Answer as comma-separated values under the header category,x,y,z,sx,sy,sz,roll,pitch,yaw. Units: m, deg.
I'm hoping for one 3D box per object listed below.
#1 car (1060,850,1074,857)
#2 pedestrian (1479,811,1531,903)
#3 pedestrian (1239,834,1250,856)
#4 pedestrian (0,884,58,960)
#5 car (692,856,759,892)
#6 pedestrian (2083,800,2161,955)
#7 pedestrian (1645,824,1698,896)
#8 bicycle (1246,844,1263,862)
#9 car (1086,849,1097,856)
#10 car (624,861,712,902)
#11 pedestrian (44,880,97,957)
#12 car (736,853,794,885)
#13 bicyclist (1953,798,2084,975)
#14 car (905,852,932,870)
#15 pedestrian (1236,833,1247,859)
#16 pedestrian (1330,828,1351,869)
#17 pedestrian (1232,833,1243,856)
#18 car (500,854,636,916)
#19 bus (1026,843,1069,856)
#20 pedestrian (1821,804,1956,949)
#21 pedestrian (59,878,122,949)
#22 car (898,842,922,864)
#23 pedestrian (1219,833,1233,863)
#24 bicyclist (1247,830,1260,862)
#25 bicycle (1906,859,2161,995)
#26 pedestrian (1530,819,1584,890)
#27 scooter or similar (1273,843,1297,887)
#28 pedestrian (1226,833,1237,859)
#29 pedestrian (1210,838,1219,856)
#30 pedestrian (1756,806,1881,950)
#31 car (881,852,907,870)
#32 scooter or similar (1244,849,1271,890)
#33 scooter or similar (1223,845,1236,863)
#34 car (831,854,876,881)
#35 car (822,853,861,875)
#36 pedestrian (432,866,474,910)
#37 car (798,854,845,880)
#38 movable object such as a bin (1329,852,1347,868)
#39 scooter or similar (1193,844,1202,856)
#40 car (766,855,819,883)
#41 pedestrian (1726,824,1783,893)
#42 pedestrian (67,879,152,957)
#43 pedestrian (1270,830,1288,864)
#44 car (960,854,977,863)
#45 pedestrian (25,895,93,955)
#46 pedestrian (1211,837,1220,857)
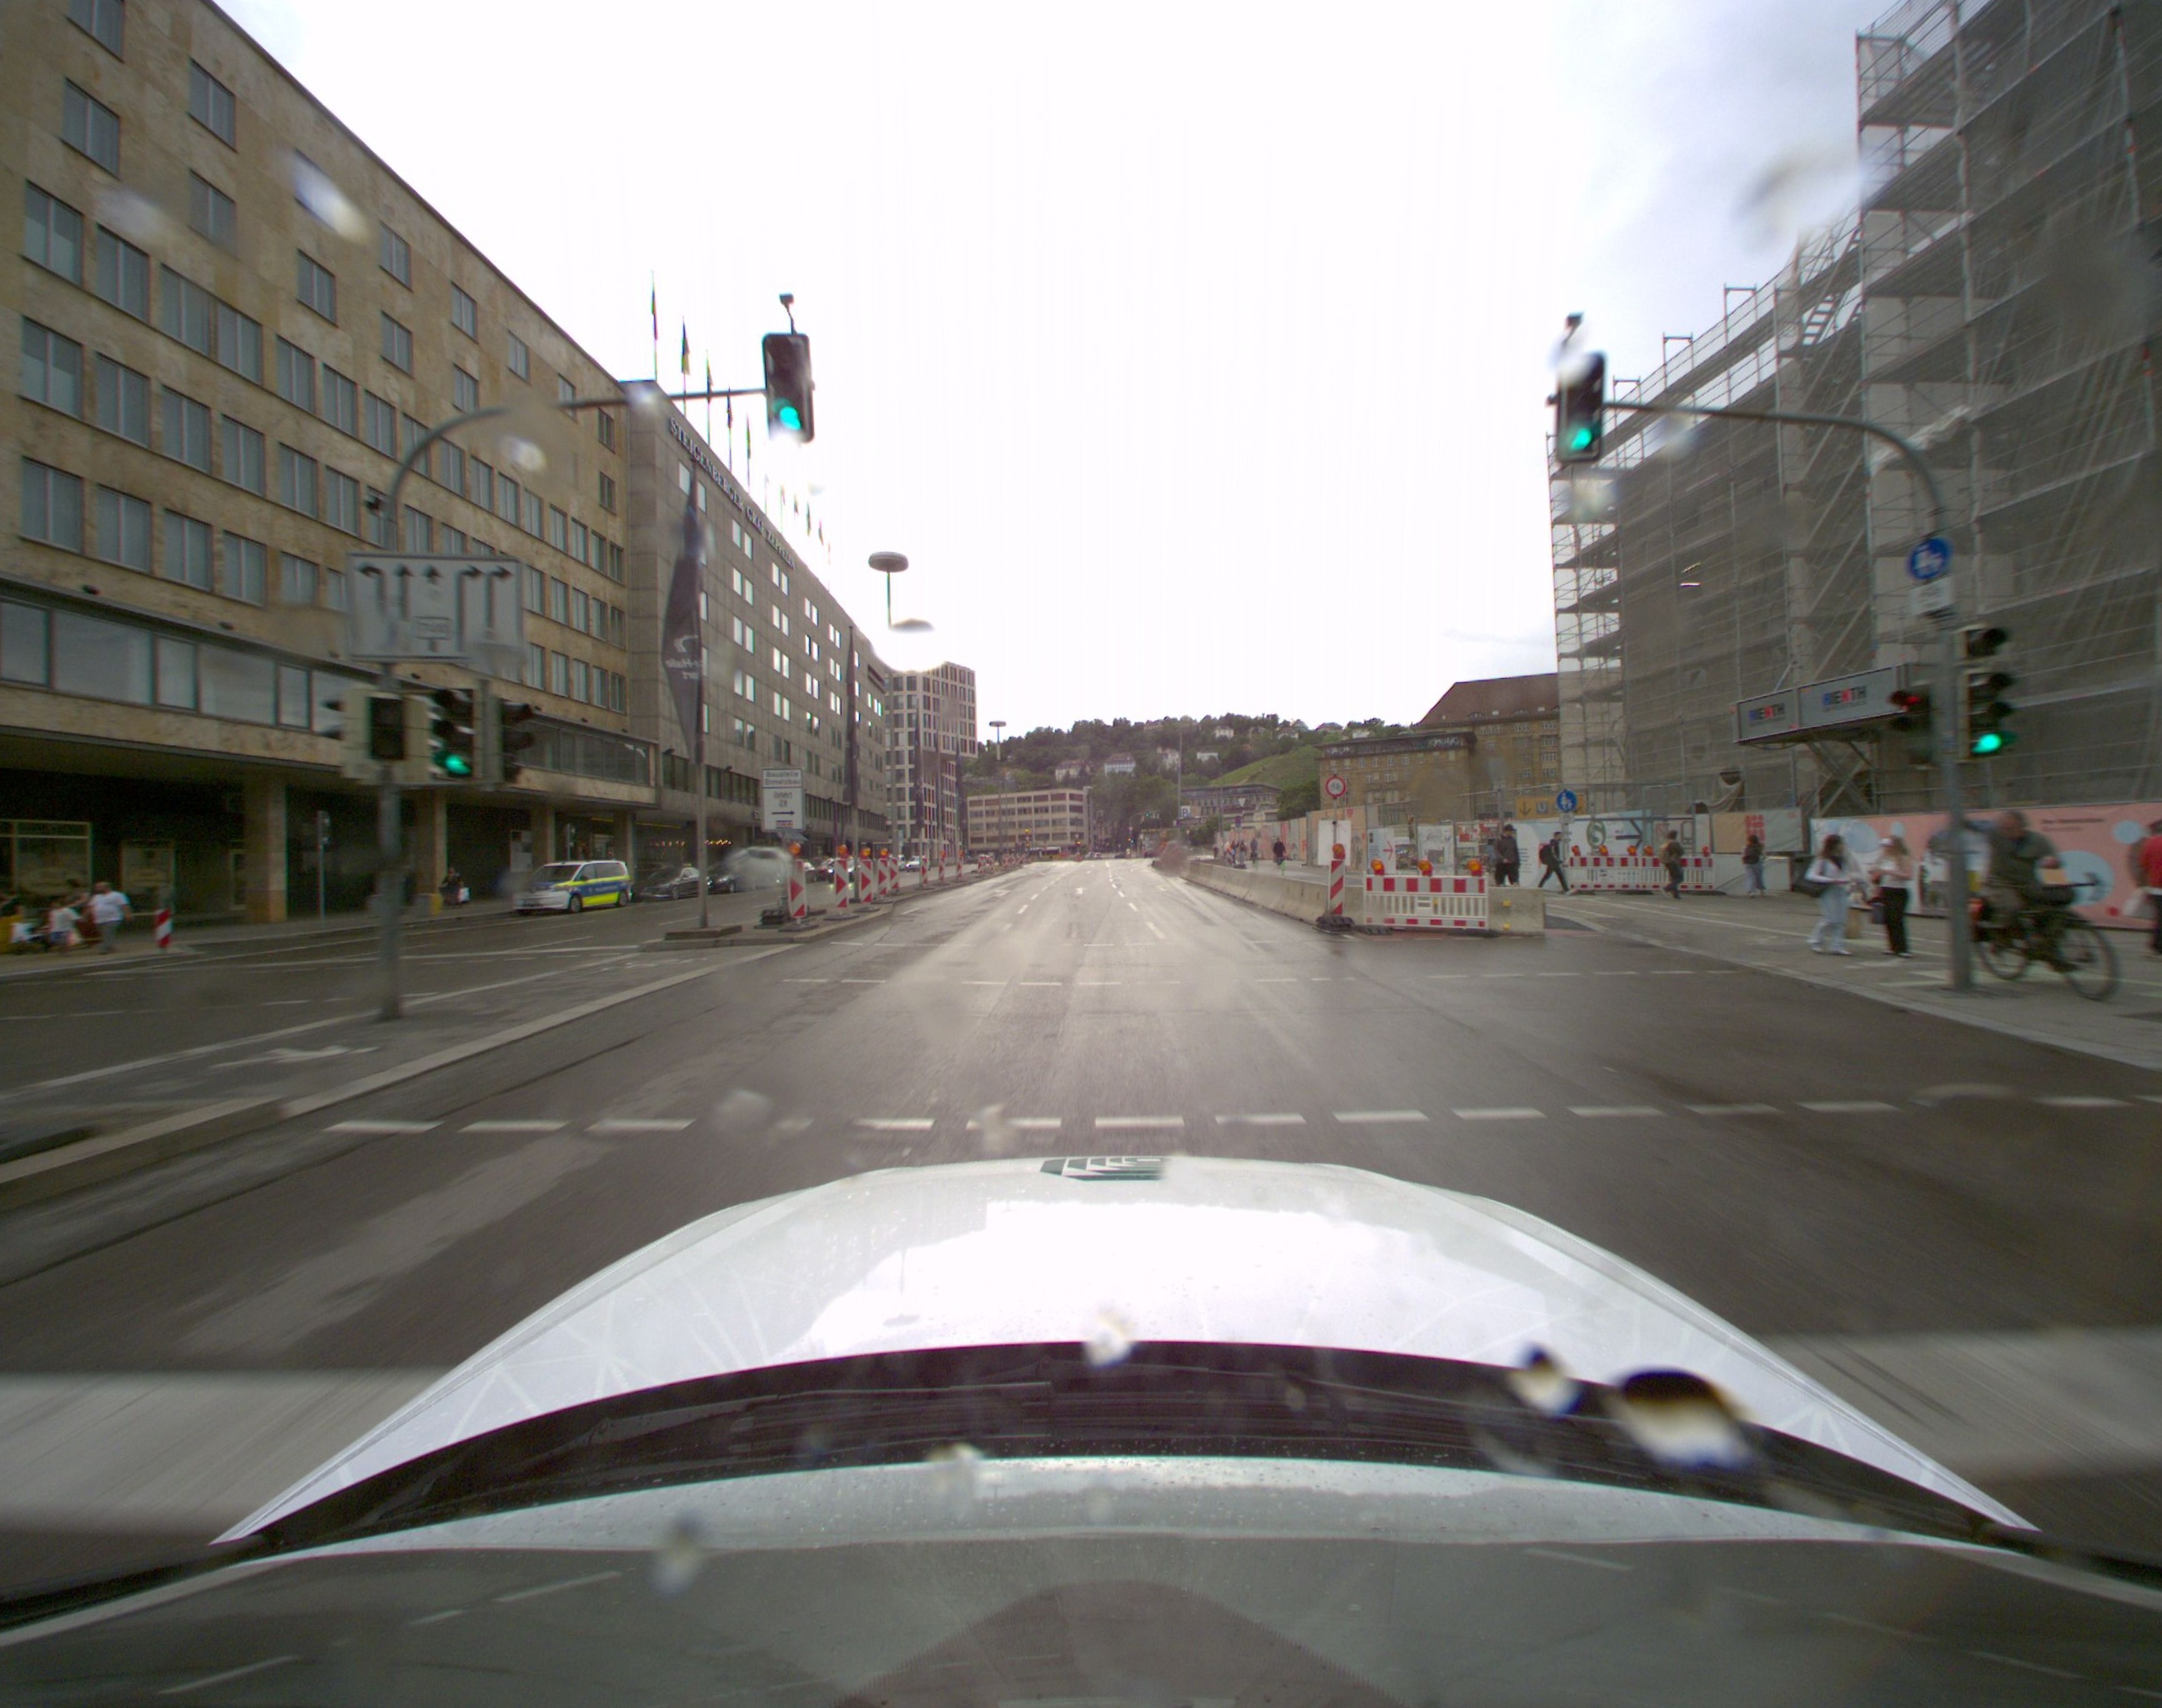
category,x,y,z,sx,sy,sz,roll,pitch,yaw
car,-3.403,-0.055,199.923,1.741,1.491,4.037,-2,0,-31
pedestrian,9.676,0.058,18.599,0.782,2.011,0.868,-2,3,8
pedestrian,14.108,-0.751,70.273,0.701,1.866,0.991,-2,0,3
pedestrian,-24.264,1.538,18.695,0.562,1.668,0.752,-2,0,-3
car,-18.767,1.018,43.177,1.750,1.681,4.225,-2,1,-2
pedestrian,12.380,0.249,9.377,0.709,1.727,0.744,-2,0,3
pedestrian,14.813,0.150,20.438,0.811,1.755,0.648,-2,0,-3
bicycle,11.182,-0.094,52.504,0.762,1.111,1.983,-2,0,3
car,2.338,-0.420,185.795,1.730,1.491,4.065,-2,0,-9
car,-18.872,1.210,37.444,1.750,1.621,4.561,-2,0,-2
pedestrian,-21.837,1.384,17.606,0.450,1.618,0.525,1,0,-13
car,-18.965,0.857,49.140,1.750,1.758,4.707,-2,0,-2
bicyclist,9.310,0.321,8.107,0.689,1.704,0.436,-2,0,16
car,-16.101,0.644,80.715,1.819,1.669,4.497,-2,0,-2
pedestrian,11.777,-0.585,59.708,0.680,1.889,0.694,-2,0,4
pedestrian,12.225,-0.241,38.346,0.764,1.895,0.654,-2,0,3
pedestrian,12.753,-0.762,66.419,0.681,1.889,0.693,-2,0,0
car,-18.941,1.070,30.426,1.895,1.928,5.072,-3,1,-2
bus,-8.278,-1.096,201.269,3.227,2.750,13.818,-2,0,-37
pedestrian,10.318,0.275,10.448,0.810,1.755,0.882,-2,0,3
pedestrian,-23.412,1.398,19.251,0.659,1.592,0.684,-2,0,14
car,-19.550,-0.139,93.270,1.769,2.327,4.369,-2,0,-1
pedestrian,10.059,-0.426,56.578,0.799,2.016,0.973,-2,0,4
bicyclist,11.145,-0.522,52.644,0.723,2.013,0.600,-2,0,3
bicycle,9.305,0.646,8.051,0.748,1.133,2.001,-2,0,18
pedestrian,12.836,0.026,21.984,0.676,1.848,0.996,-2,0,-21
scooter or similar,6.420,0.326,25.649,0.487,1.333,1.031,-2,0,26
pedestrian,11.058,-0.602,59.749,0.680,1.889,0.694,-2,0,4
pedestrian,12.864,-0.680,78.555,0.681,1.740,0.907,-2,0,1
pedestrian,9.631,0.310,10.657,0.816,1.756,0.799,-4,-2,-21
car,-19.950,0.700,87.085,1.769,1.762,4.369,-2,0,-1
scooter or similar,5.901,0.506,27.272,0.524,1.333,1.022,-2,0,-9
scooter or similar,10.112,0.015,55.457,0.662,1.198,1.045,-2,0,4
car,-15.525,0.882,55.835,1.768,1.669,4.499,-3,0,0
car,-19.313,0.763,65.859,1.811,1.698,4.575,-2,0,-1
pedestrian,-23.285,1.253,30.204,0.711,1.549,0.958,-2,0,5
car,-19.216,0.927,60.481,1.895,1.768,4.647,-2,0,1
movable object such as a bin,11.996,0.290,38.052,0.594,0.734,0.779,-2,0,4
scooter or similar,12.029,-0.386,84.148,0.467,1.183,1.412,-2,0,-7
car,-19.243,0.982,54.493,1.897,1.659,4.614,-2,1,-1
pedestrian,17.772,0.115,21.502,0.810,1.755,0.806,-2,0,3
pedestrian,-21.160,1.374,17.753,0.837,1.618,0.786,1,0,-12
pedestrian,11.524,-0.413,47.438,0.845,1.895,0.662,-2,0,3
car,-26.009,1.025,188.213,3.949,1.815,1.817,-2,1,42
pedestrian,-23.254,1.600,18.546,0.562,1.292,0.752,-2,0,-3
pedestrian,12.072,-0.616,73.034,0.640,1.740,0.838,-2,0,1
